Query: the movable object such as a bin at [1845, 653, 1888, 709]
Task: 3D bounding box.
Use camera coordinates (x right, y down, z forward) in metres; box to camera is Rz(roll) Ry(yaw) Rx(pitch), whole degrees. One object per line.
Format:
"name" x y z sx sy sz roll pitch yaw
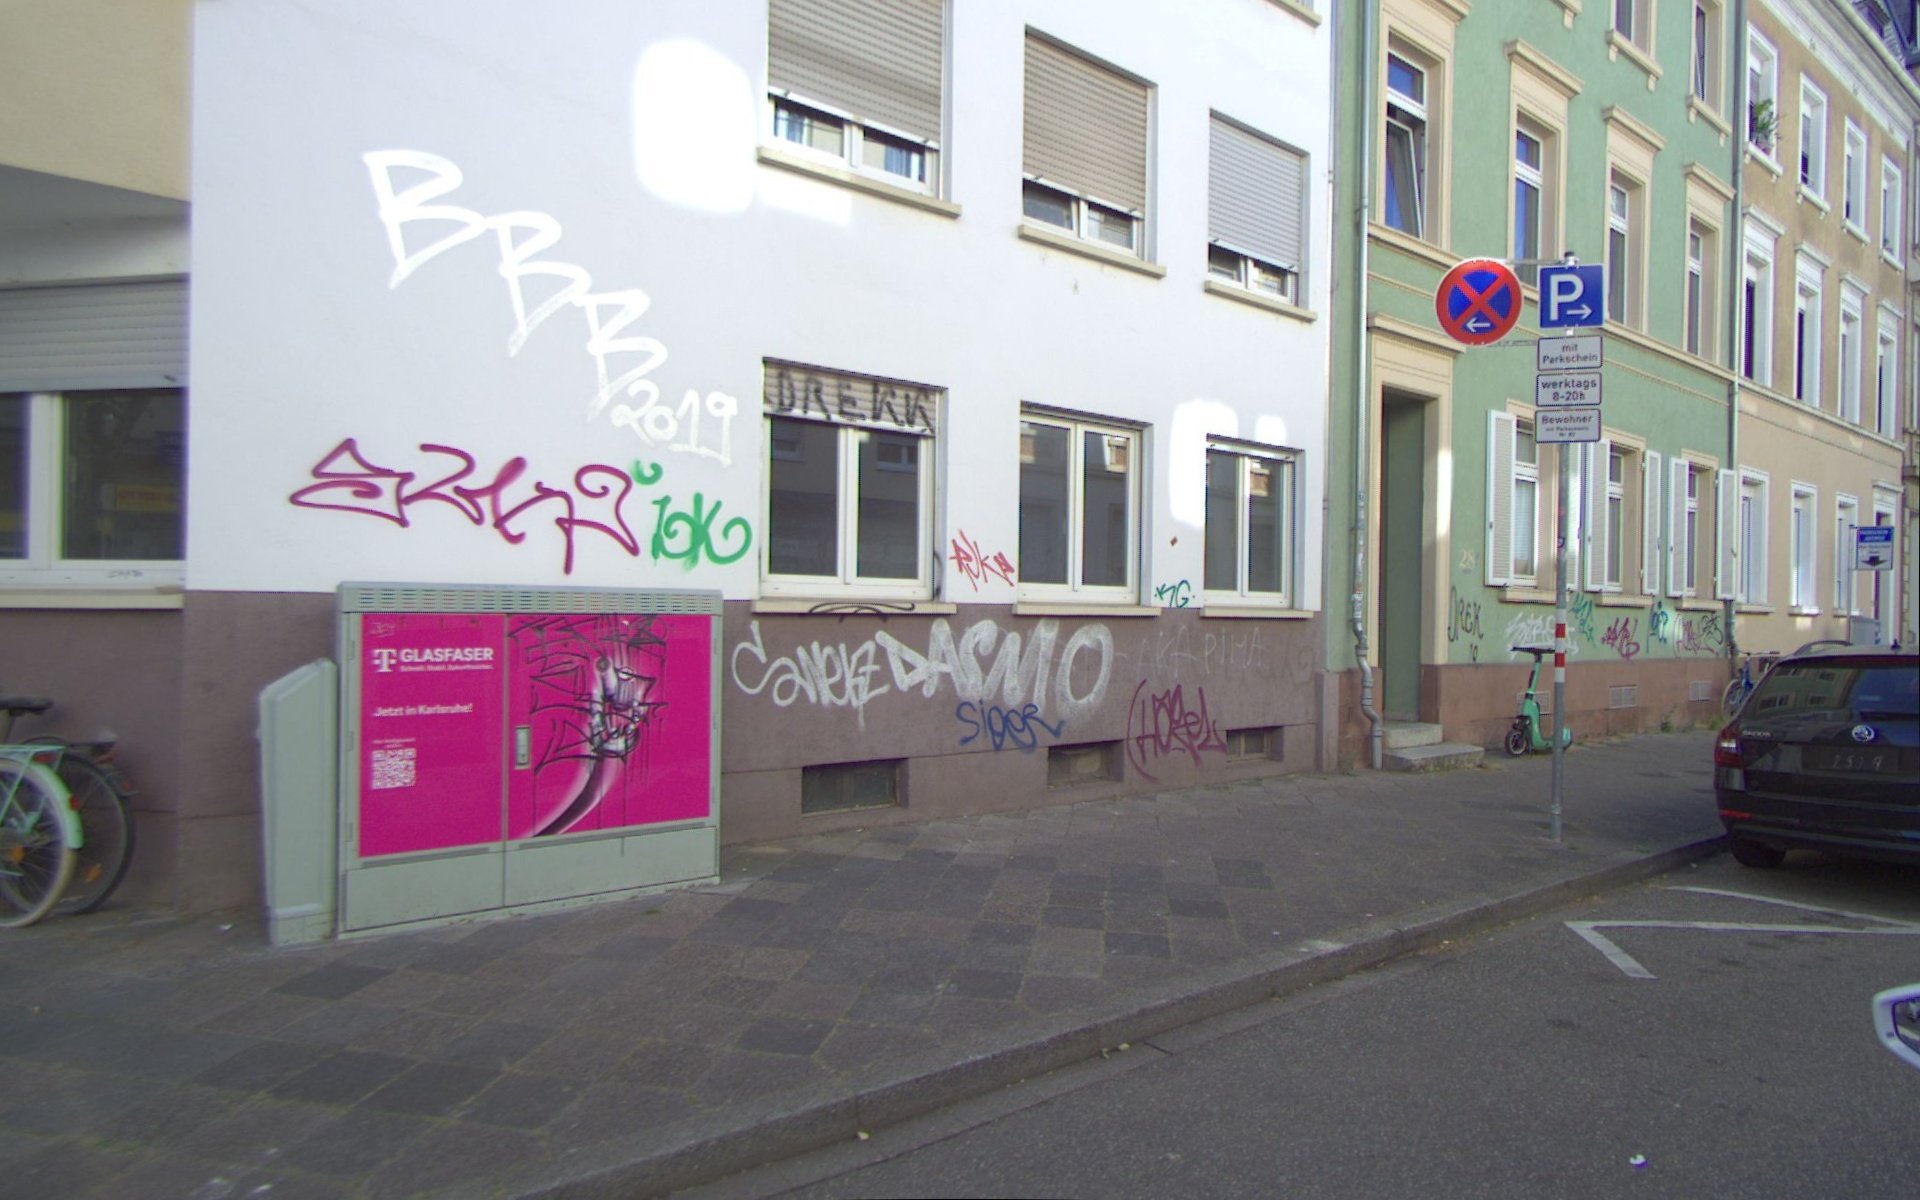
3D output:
"movable object such as a bin" 16.504 1.463 18.288 0.556 0.950 0.469 1 1 -37

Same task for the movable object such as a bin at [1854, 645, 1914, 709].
"movable object such as a bin" 17.144 1.411 18.633 0.677 1.103 0.729 0 0 -39

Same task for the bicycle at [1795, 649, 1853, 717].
"bicycle" 14.434 1.369 16.759 1.821 1.070 0.399 3 -1 -39

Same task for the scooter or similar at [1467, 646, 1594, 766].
"scooter or similar" 6.130 1.109 10.769 1.673 1.197 0.451 2 -1 -33

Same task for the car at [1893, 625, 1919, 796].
"car" 11.436 1.083 10.354 4.556 1.636 1.733 1 -2 -35

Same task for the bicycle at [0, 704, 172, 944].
"bicycle" -4.307 0.923 4.329 1.538 0.894 0.431 2 1 5

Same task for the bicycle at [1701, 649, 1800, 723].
"bicycle" 11.713 1.265 14.866 1.892 1.042 0.360 2 -1 -26

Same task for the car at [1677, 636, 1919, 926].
"car" 6.811 1.019 6.842 4.806 1.508 1.702 2 -4 -36
